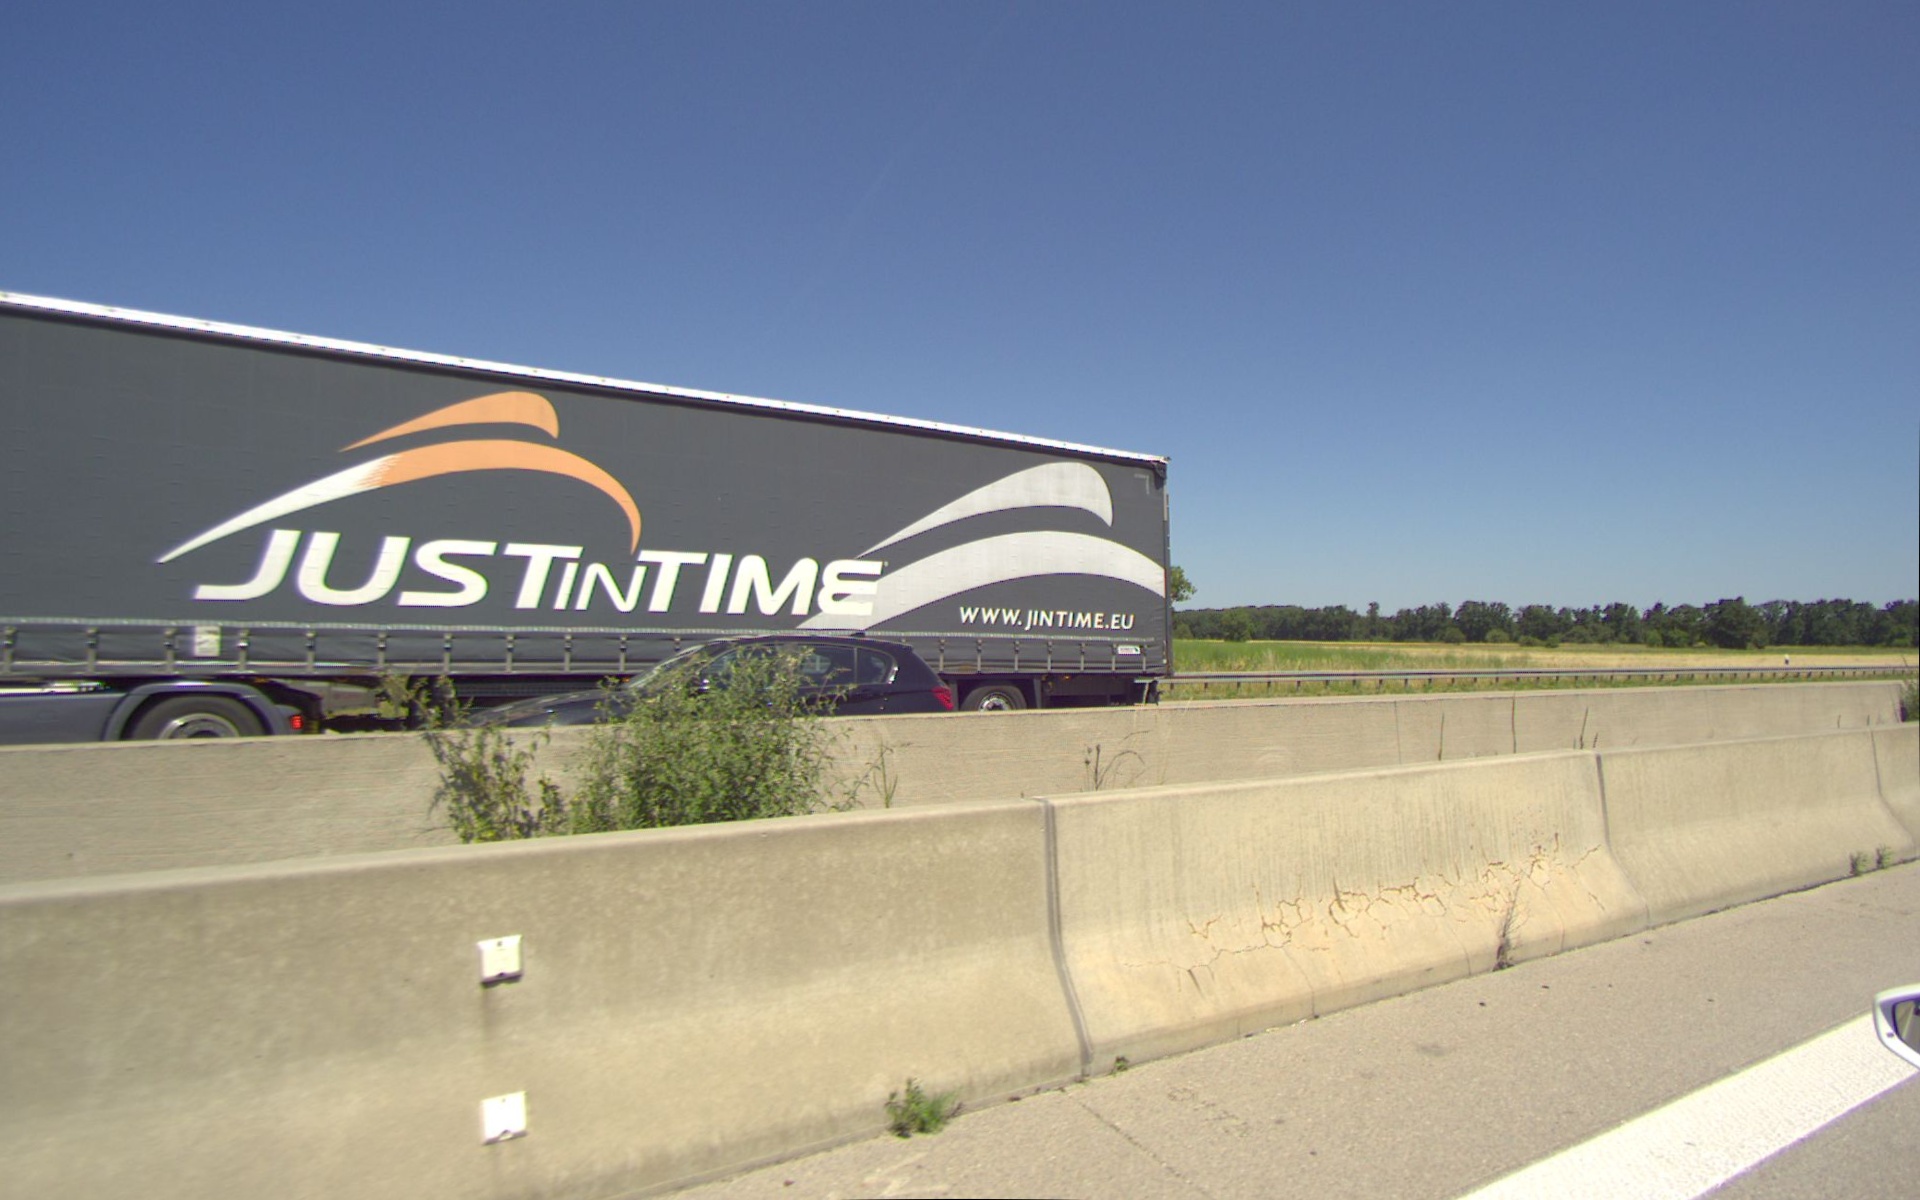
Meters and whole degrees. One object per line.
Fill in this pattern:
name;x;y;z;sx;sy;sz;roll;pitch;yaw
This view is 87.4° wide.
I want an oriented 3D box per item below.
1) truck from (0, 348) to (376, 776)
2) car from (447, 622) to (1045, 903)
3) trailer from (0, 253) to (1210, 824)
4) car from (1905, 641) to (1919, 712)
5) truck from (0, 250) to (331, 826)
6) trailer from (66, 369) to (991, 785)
truck;-10.953;-0.411;12.557;6.177;4.668;3.216;2;0;-30
car;-1.762;1.162;8.724;4.688;1.806;1.984;2;0;-30
trailer;-3.298;-0.281;12.425;14.283;4.534;3.252;2;-2;-31
car;25.462;1.913;24.797;4.878;1.673;1.894;2;0;-32
truck;-9.674;-0.491;8.522;7.106;4.534;3.252;2;-2;-30
trailer;-5.534;-0.099;15.760;12.150;4.668;3.216;2;0;-31
